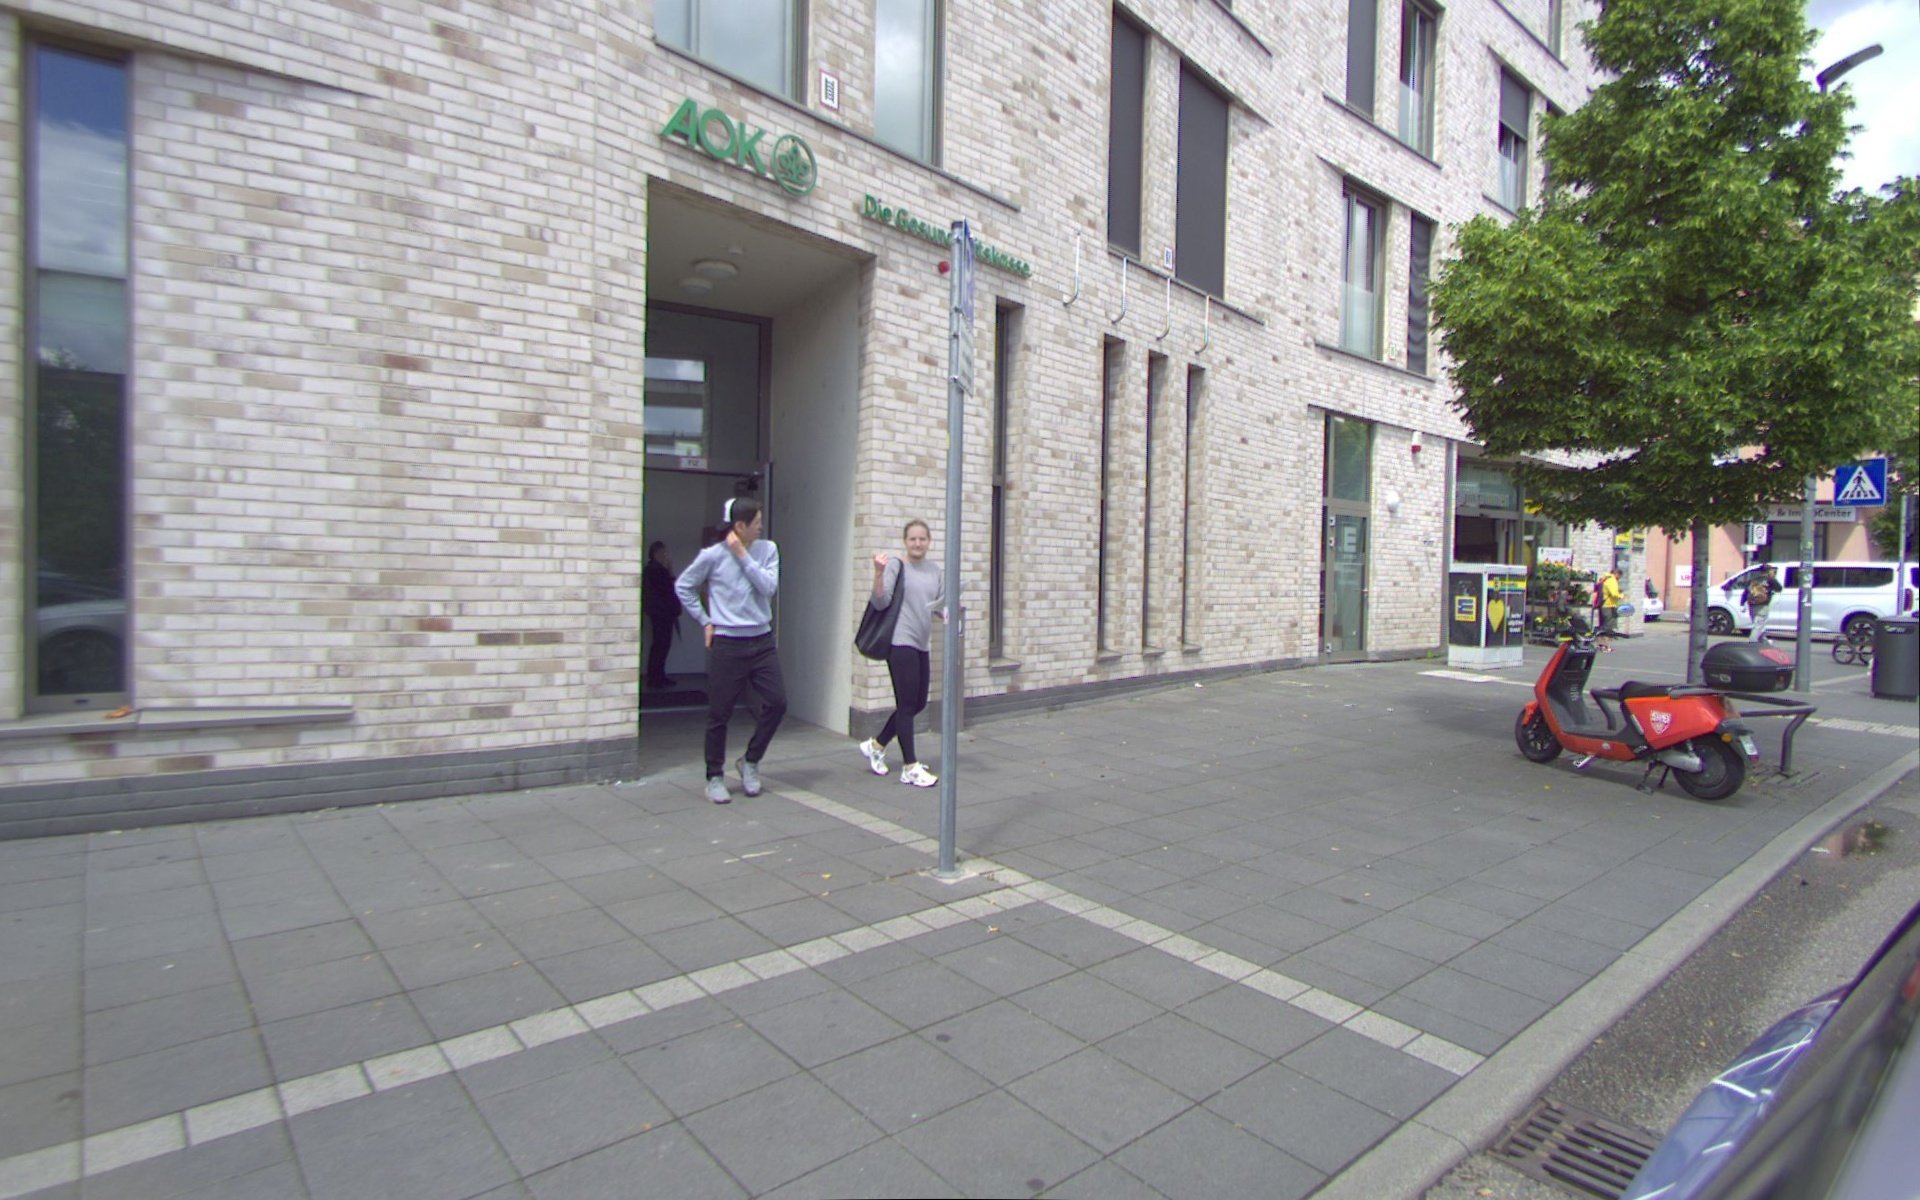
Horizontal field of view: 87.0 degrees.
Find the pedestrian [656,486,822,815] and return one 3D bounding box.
[{"bbox_3d":[-1.285,0.253,5.917,0.729,1.788,0.619,2,3,23],"label":"pedestrian"}]

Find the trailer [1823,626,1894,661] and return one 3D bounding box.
[{"bbox_3d":[15.760,0.757,17.751,0.795,0.535,0.723,-1,2,-31],"label":"trailer"}]

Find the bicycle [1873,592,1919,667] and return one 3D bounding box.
[{"bbox_3d":[15.695,0.497,15.916,0.742,1.145,1.830,-1,3,-34],"label":"bicycle"}]

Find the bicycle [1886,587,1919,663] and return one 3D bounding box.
[{"bbox_3d":[16.353,0.443,16.405,0.742,1.215,1.830,-1,3,-34],"label":"bicycle"}]

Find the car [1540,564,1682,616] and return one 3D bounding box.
[{"bbox_3d":[20.819,-0.362,32.499,1.684,1.495,3.398,0,3,-29],"label":"car"}]

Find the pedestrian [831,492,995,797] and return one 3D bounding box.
[{"bbox_3d":[-0.293,0.238,6.429,0.730,1.788,0.748,2,3,35],"label":"pedestrian"}]

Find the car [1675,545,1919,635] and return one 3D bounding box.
[{"bbox_3d":[21.573,-0.250,25.592,1.959,2.039,5.401,-1,0,-28],"label":"car"}]

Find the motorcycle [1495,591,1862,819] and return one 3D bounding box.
[{"bbox_3d":[5.013,0.635,7.281,0.659,1.281,2.062,0,4,-23],"label":"motorcycle"}]

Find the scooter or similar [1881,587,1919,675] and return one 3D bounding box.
[{"bbox_3d":[14.255,0.467,14.674,0.484,1.265,1.201,-1,3,-34],"label":"scooter or similar"}]

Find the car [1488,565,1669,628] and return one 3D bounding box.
[{"bbox_3d":[17.184,-0.159,28.294,1.749,1.495,3.909,0,4,-35],"label":"car"}]

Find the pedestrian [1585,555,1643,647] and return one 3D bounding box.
[{"bbox_3d":[12.532,0.010,19.397,0.619,1.713,0.660,1,2,0],"label":"pedestrian"}]

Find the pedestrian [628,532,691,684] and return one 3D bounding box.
[{"bbox_3d":[-3.415,0.080,11.489,0.520,1.668,0.564,-2,1,-31],"label":"pedestrian"}]

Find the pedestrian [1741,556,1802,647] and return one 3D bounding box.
[{"bbox_3d":[16.154,0.019,20.152,0.999,1.763,0.660,0,2,-36],"label":"pedestrian"}]
